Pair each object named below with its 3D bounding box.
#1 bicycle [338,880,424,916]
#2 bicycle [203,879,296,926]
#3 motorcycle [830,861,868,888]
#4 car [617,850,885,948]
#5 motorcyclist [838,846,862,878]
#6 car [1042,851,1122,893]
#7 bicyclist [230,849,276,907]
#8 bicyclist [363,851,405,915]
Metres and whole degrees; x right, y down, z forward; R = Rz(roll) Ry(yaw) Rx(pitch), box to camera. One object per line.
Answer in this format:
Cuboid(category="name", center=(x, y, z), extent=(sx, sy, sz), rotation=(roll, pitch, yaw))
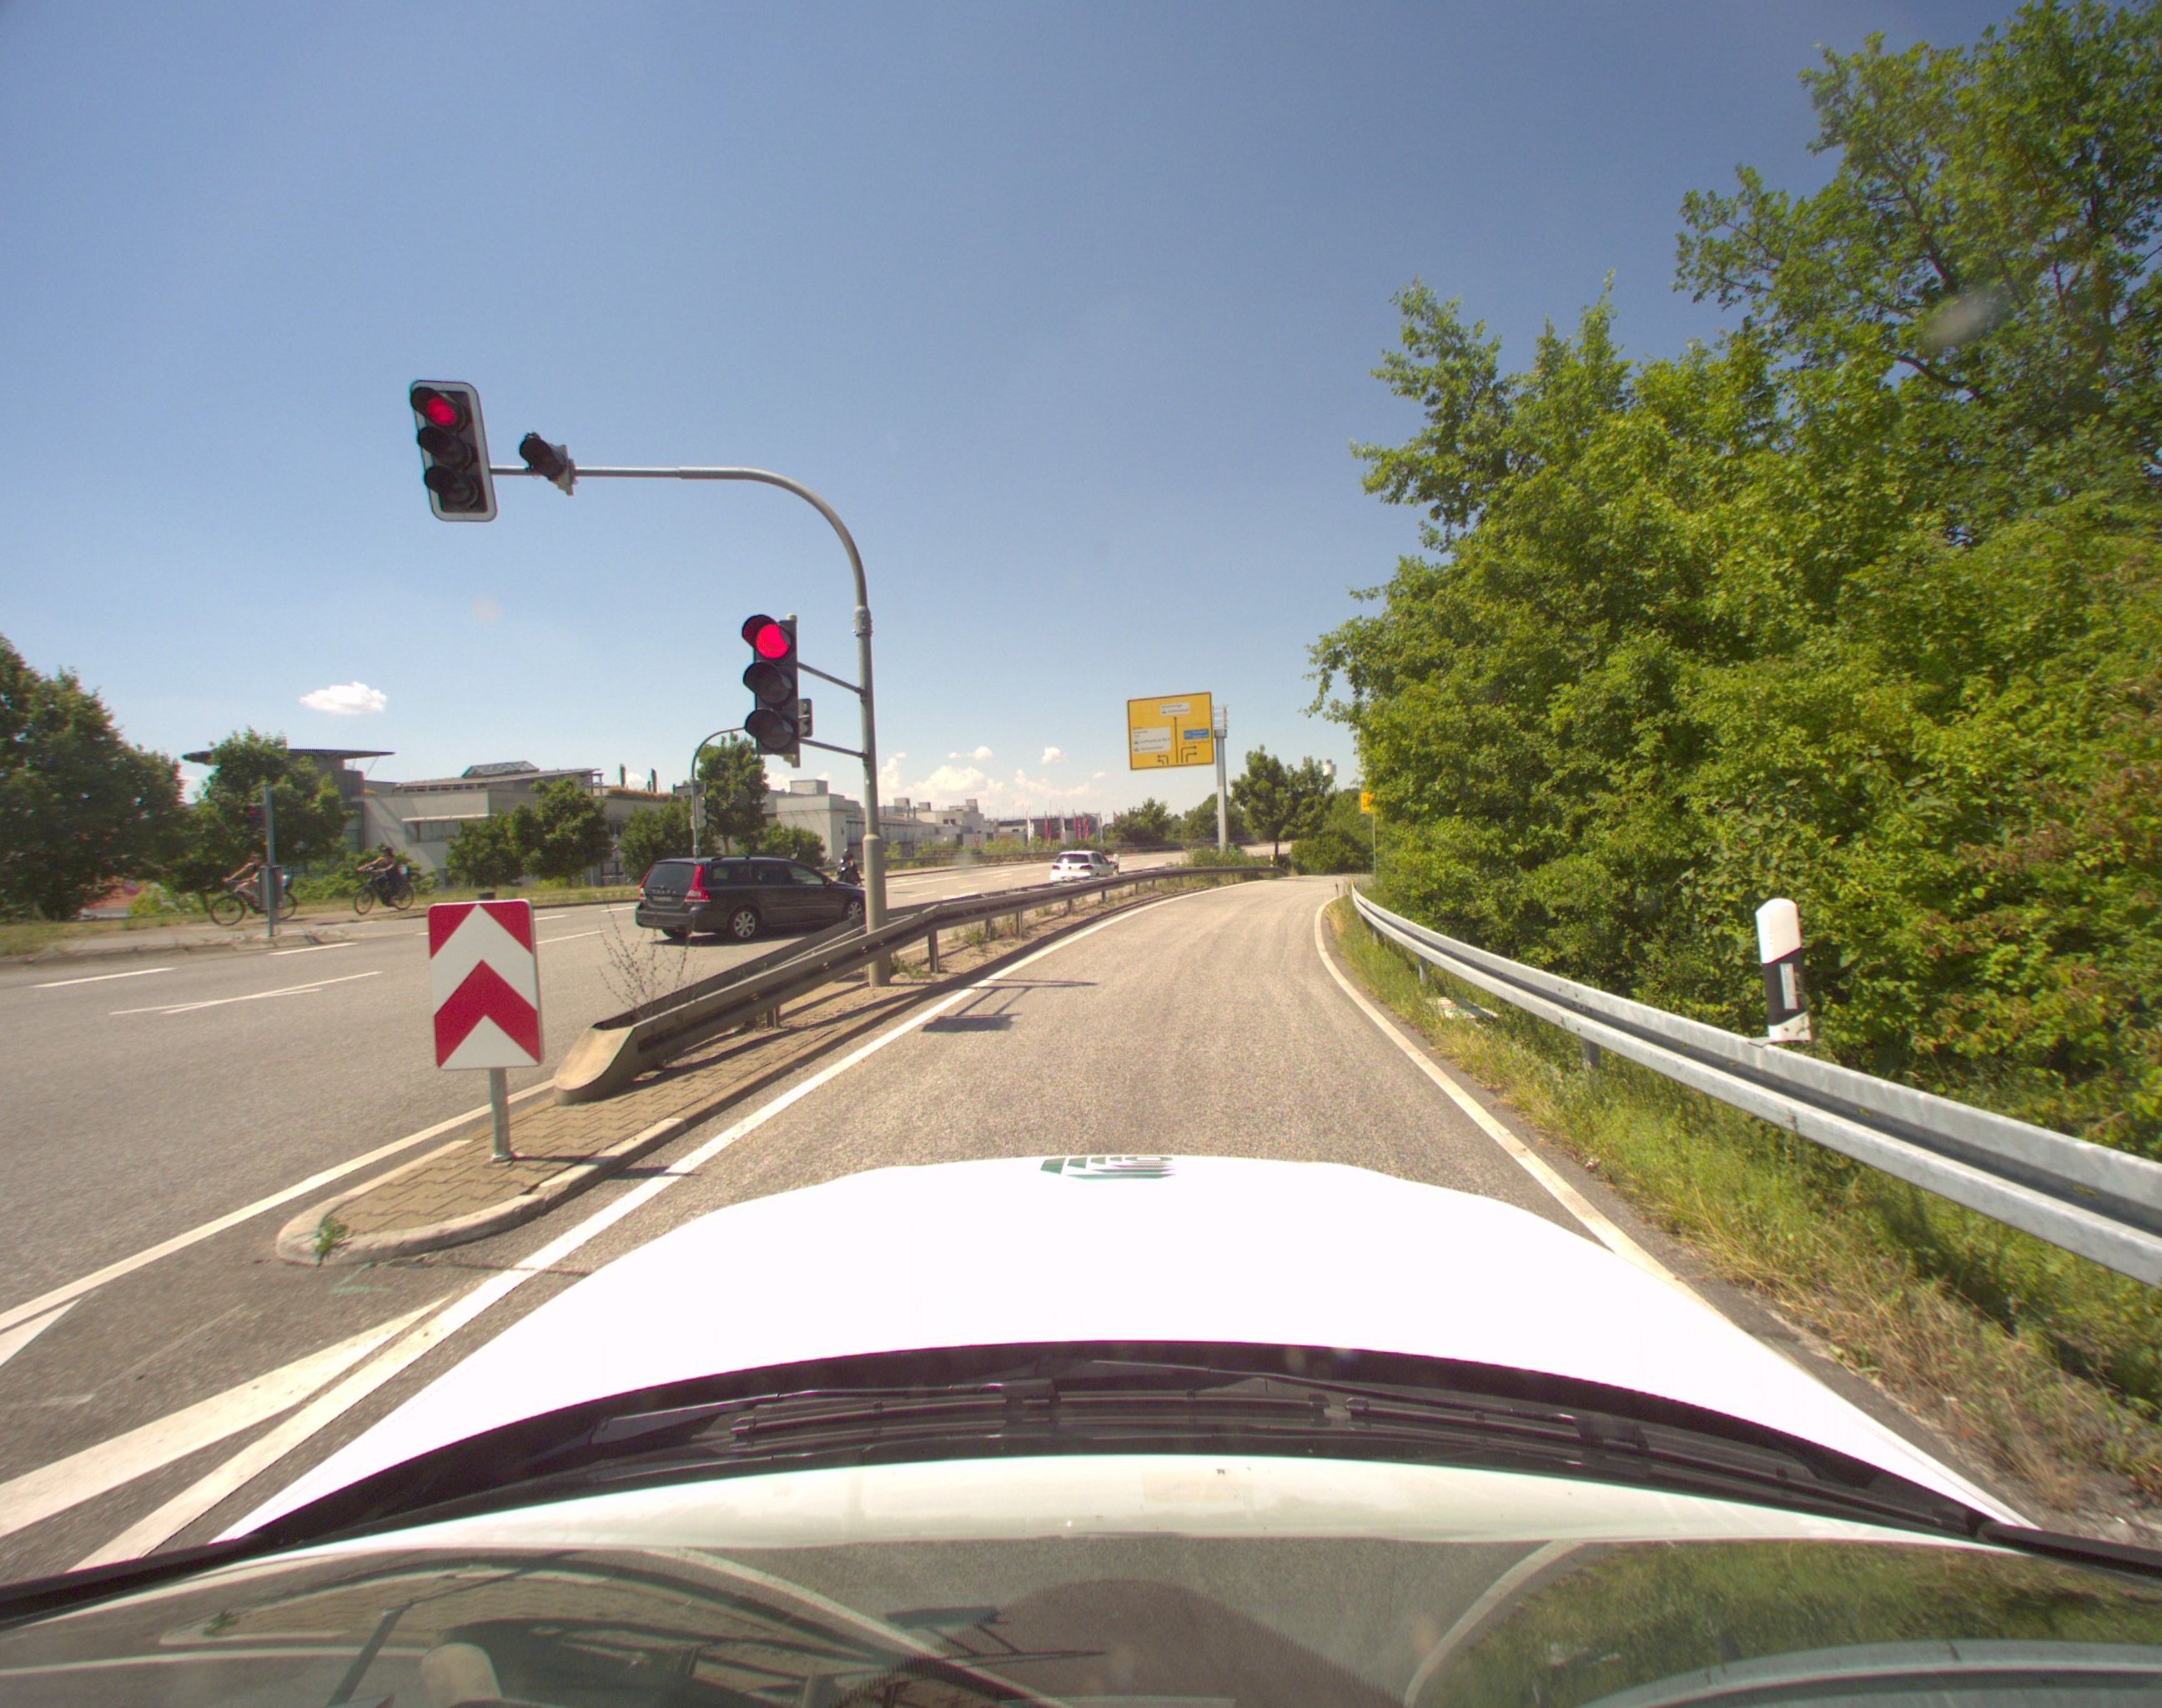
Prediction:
Cuboid(category="bicycle", center=(-18.857, 1.166, 22.008), extent=(0.532, 0.852, 2.125), rotation=(0, 0, -2))
Cuboid(category="bicycle", center=(-20.247, 1.161, 19.883), extent=(0.412, 1.025, 1.831), rotation=(0, 0, -1))
Cuboid(category="motorcycle", center=(-9.835, 0.848, 34.635), extent=(0.559, 1.080, 2.291), rotation=(-3, 0, 10))
Cuboid(category="car", center=(-6.003, 0.735, 15.524), extent=(1.715, 1.545, 4.762), rotation=(-2, 0, 26))
Cuboid(category="motorcyclist", center=(-9.843, 0.349, 34.756), extent=(0.670, 1.303, 0.725), rotation=(-3, 0, 9))
Cuboid(category="car", center=(0.127, 0.651, 31.586), extent=(1.978, 1.486, 4.153), rotation=(-1, 0, 16))
Cuboid(category="bicyclist", center=(-20.243, 0.583, 19.916), extent=(0.406, 1.404, 0.685), rotation=(0, -1, -1))
Cuboid(category="bicyclist", center=(-18.850, 0.770, 22.032), extent=(0.528, 1.717, 0.730), rotation=(0, 0, -2))
